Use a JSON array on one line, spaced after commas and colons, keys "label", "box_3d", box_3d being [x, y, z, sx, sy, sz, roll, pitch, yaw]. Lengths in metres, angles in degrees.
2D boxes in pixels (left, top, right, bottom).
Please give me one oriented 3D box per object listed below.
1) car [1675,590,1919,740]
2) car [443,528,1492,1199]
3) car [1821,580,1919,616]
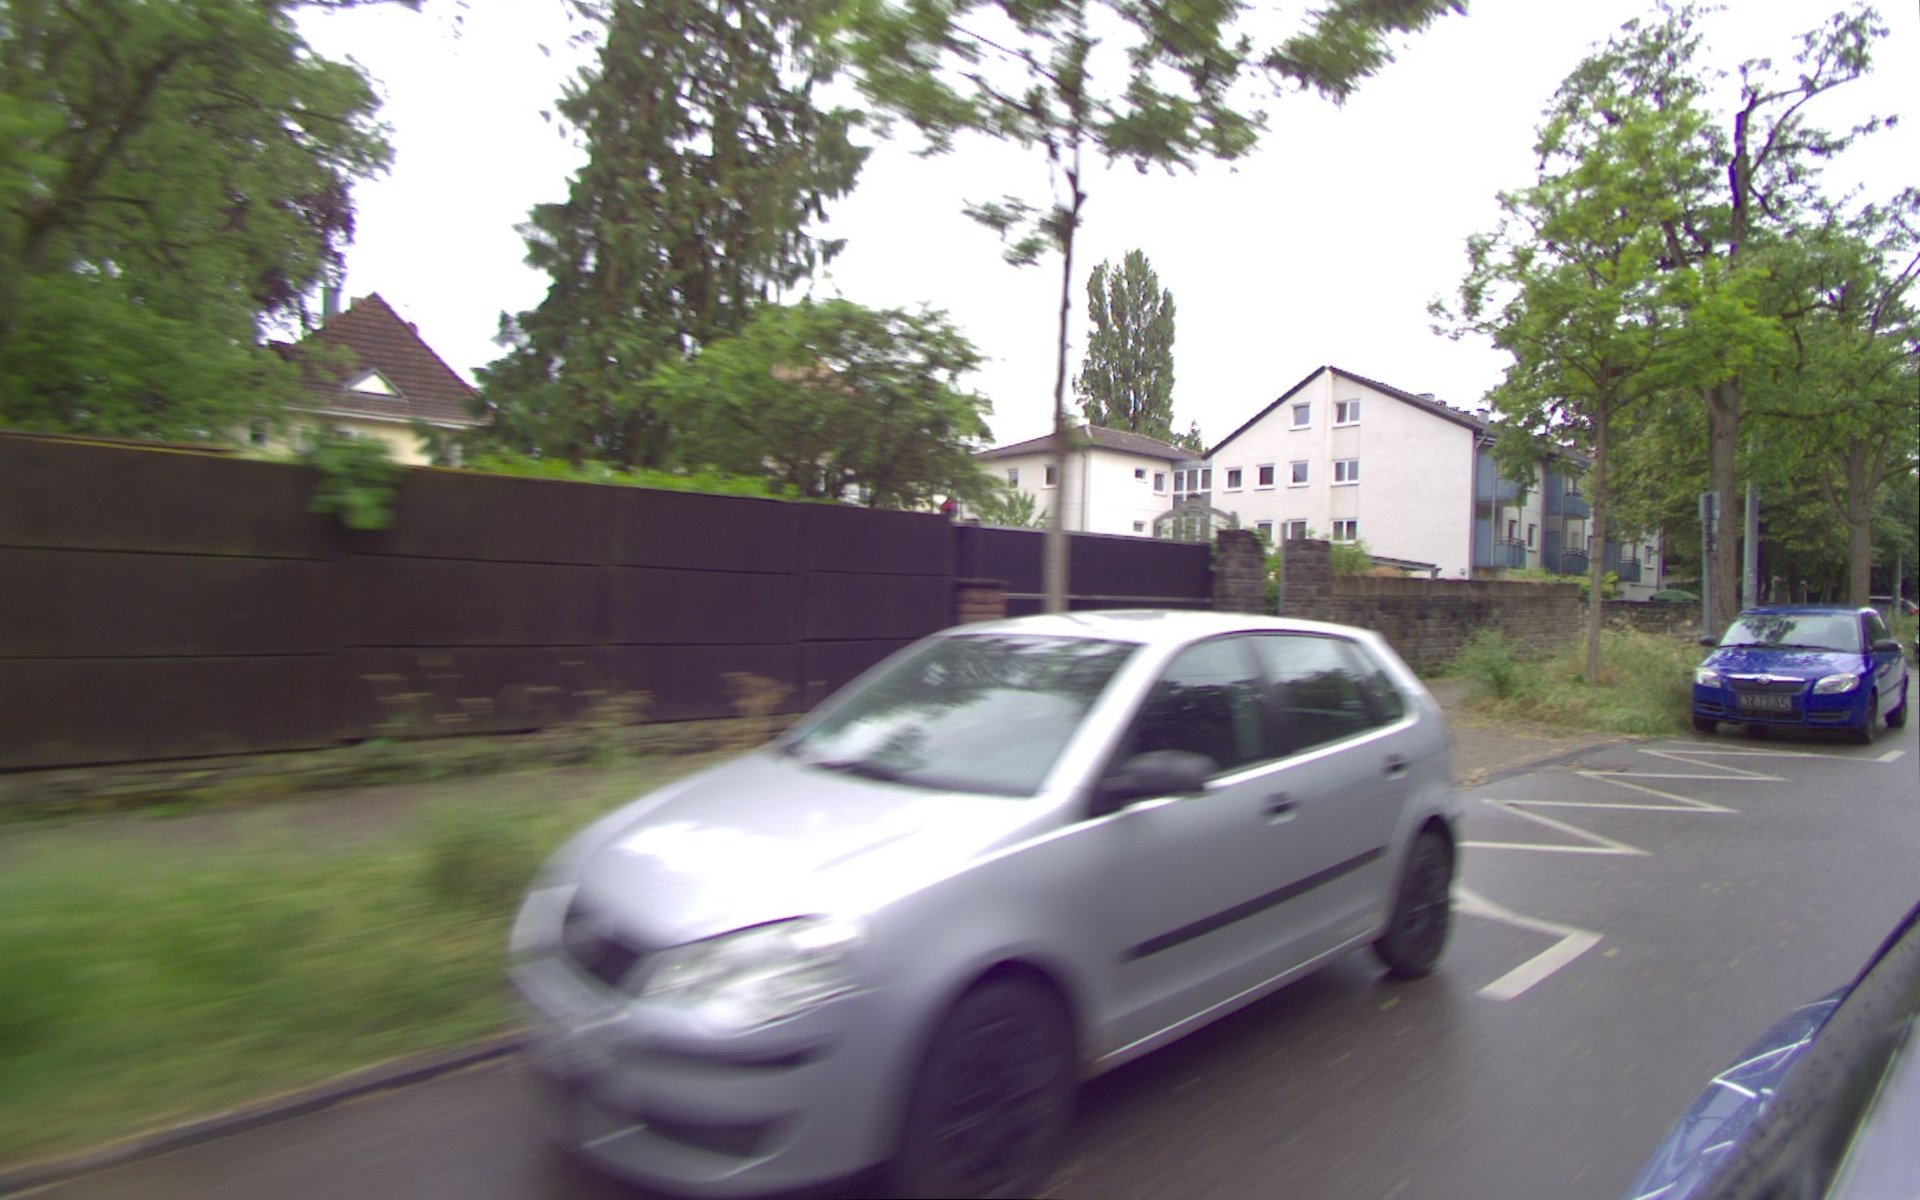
[{"label": "car", "box_3d": [10.293, 0.694, 12.242, 3.977, 1.525, 1.724, 1, -1, -40]}, {"label": "car", "box_3d": [0.367, 0.660, 3.736, 3.768, 1.527, 1.620, 1, -1, -42]}, {"label": "car", "box_3d": [50.701, -0.132, 55.990, 1.964, 1.702, 4.321, -1, 4, -39]}]
